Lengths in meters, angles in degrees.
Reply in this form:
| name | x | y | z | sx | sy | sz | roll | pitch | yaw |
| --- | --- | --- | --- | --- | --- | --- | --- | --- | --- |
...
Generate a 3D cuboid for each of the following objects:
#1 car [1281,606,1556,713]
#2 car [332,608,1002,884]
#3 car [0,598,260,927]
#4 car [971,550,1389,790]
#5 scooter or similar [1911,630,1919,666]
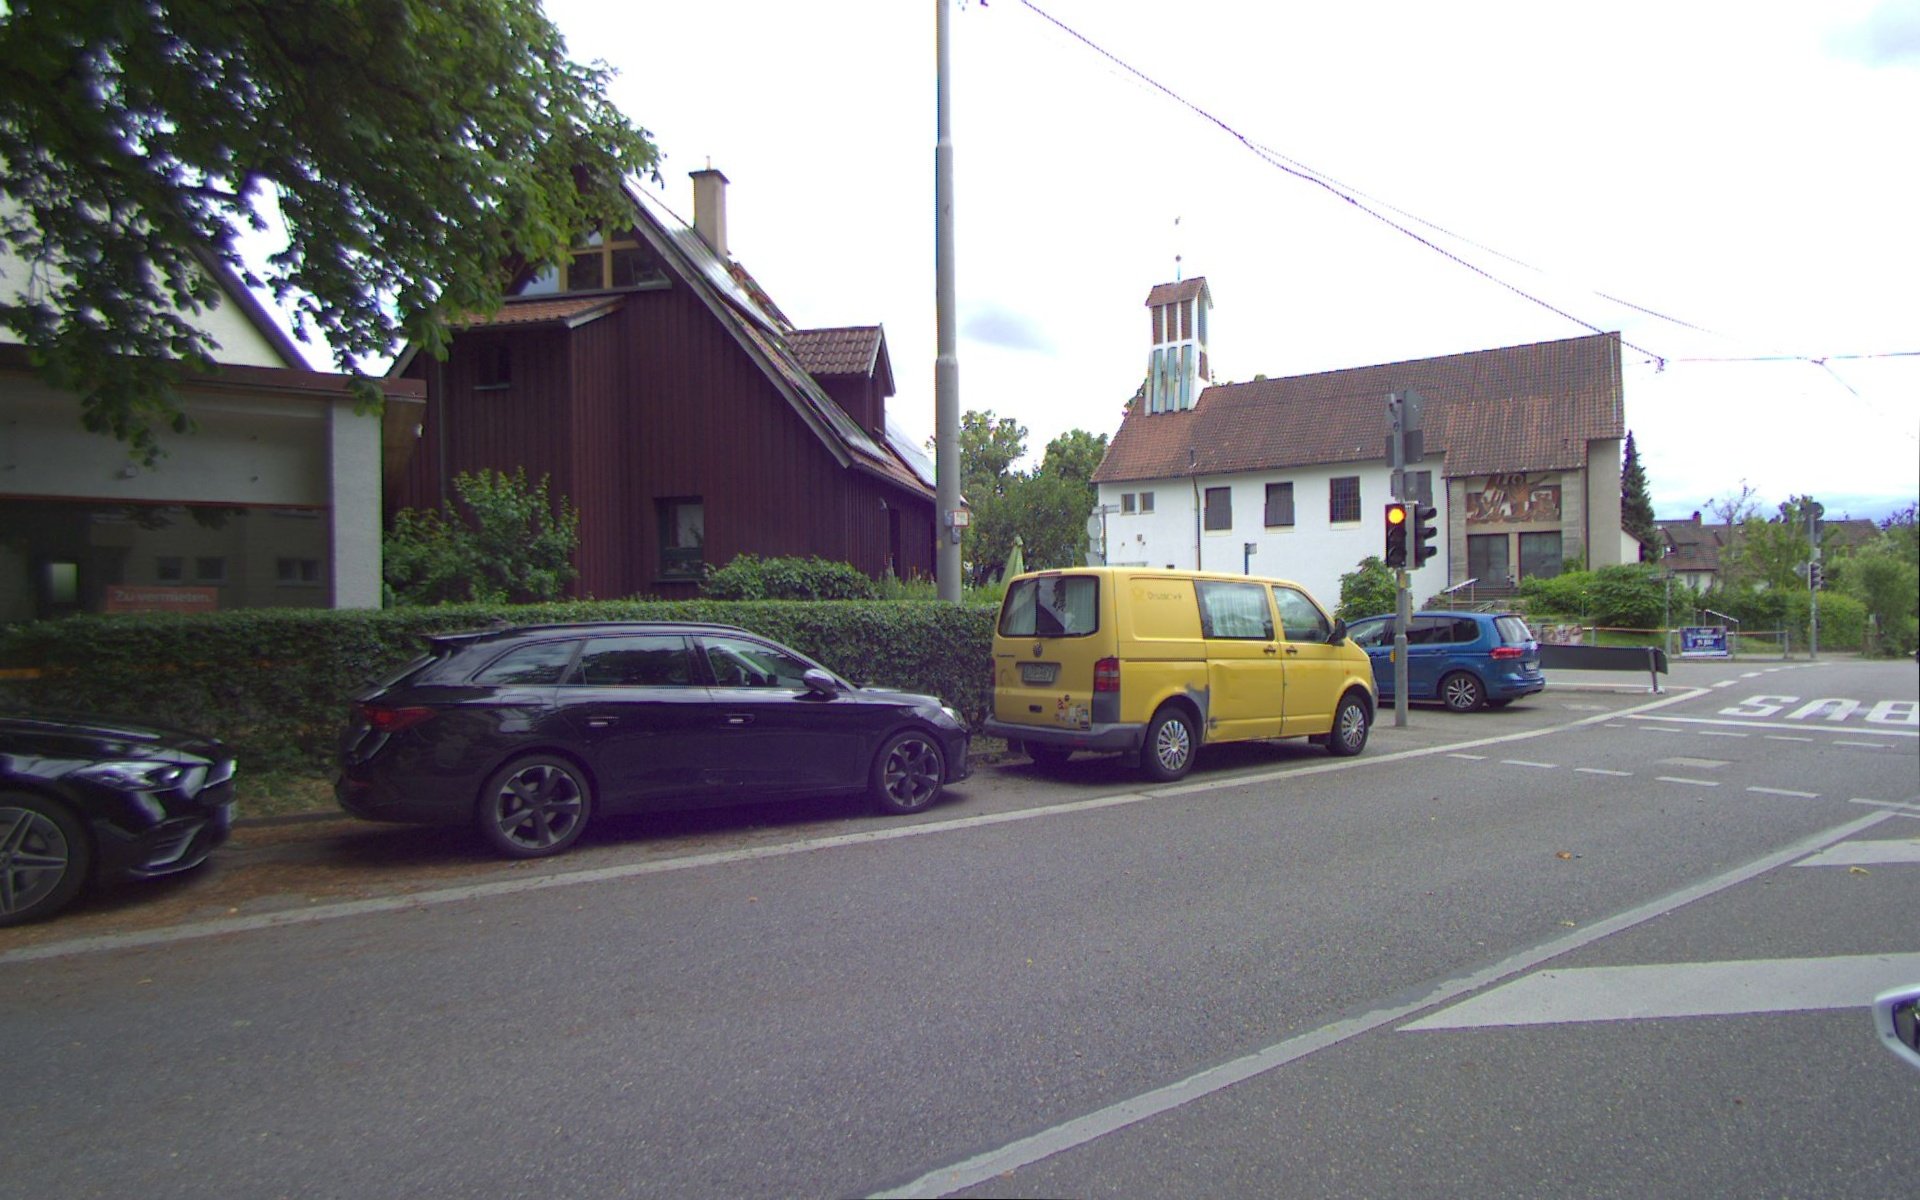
| name | x | y | z | sx | sy | sz | roll | pitch | yaw |
| --- | --- | --- | --- | --- | --- | --- | --- | --- | --- |
| car | 7.816 | 0.987 | 17.370 | 1.806 | 1.632 | 3.948 | 1 | -3 | -44 |
| car | -1.994 | 0.843 | 7.444 | 4.494 | 1.505 | 1.681 | 1 | -2 | -34 |
| car | -6.211 | 0.761 | 4.760 | 4.561 | 1.520 | 1.984 | 1 | -2 | -31 |
| car | 2.464 | 0.644 | 10.688 | 4.523 | 2.040 | 1.870 | 1 | -2 | -37 |
| scooter or similar | 30.103 | 1.488 | 30.969 | 1.096 | 1.095 | 0.574 | -1 | -2 | 44 |
